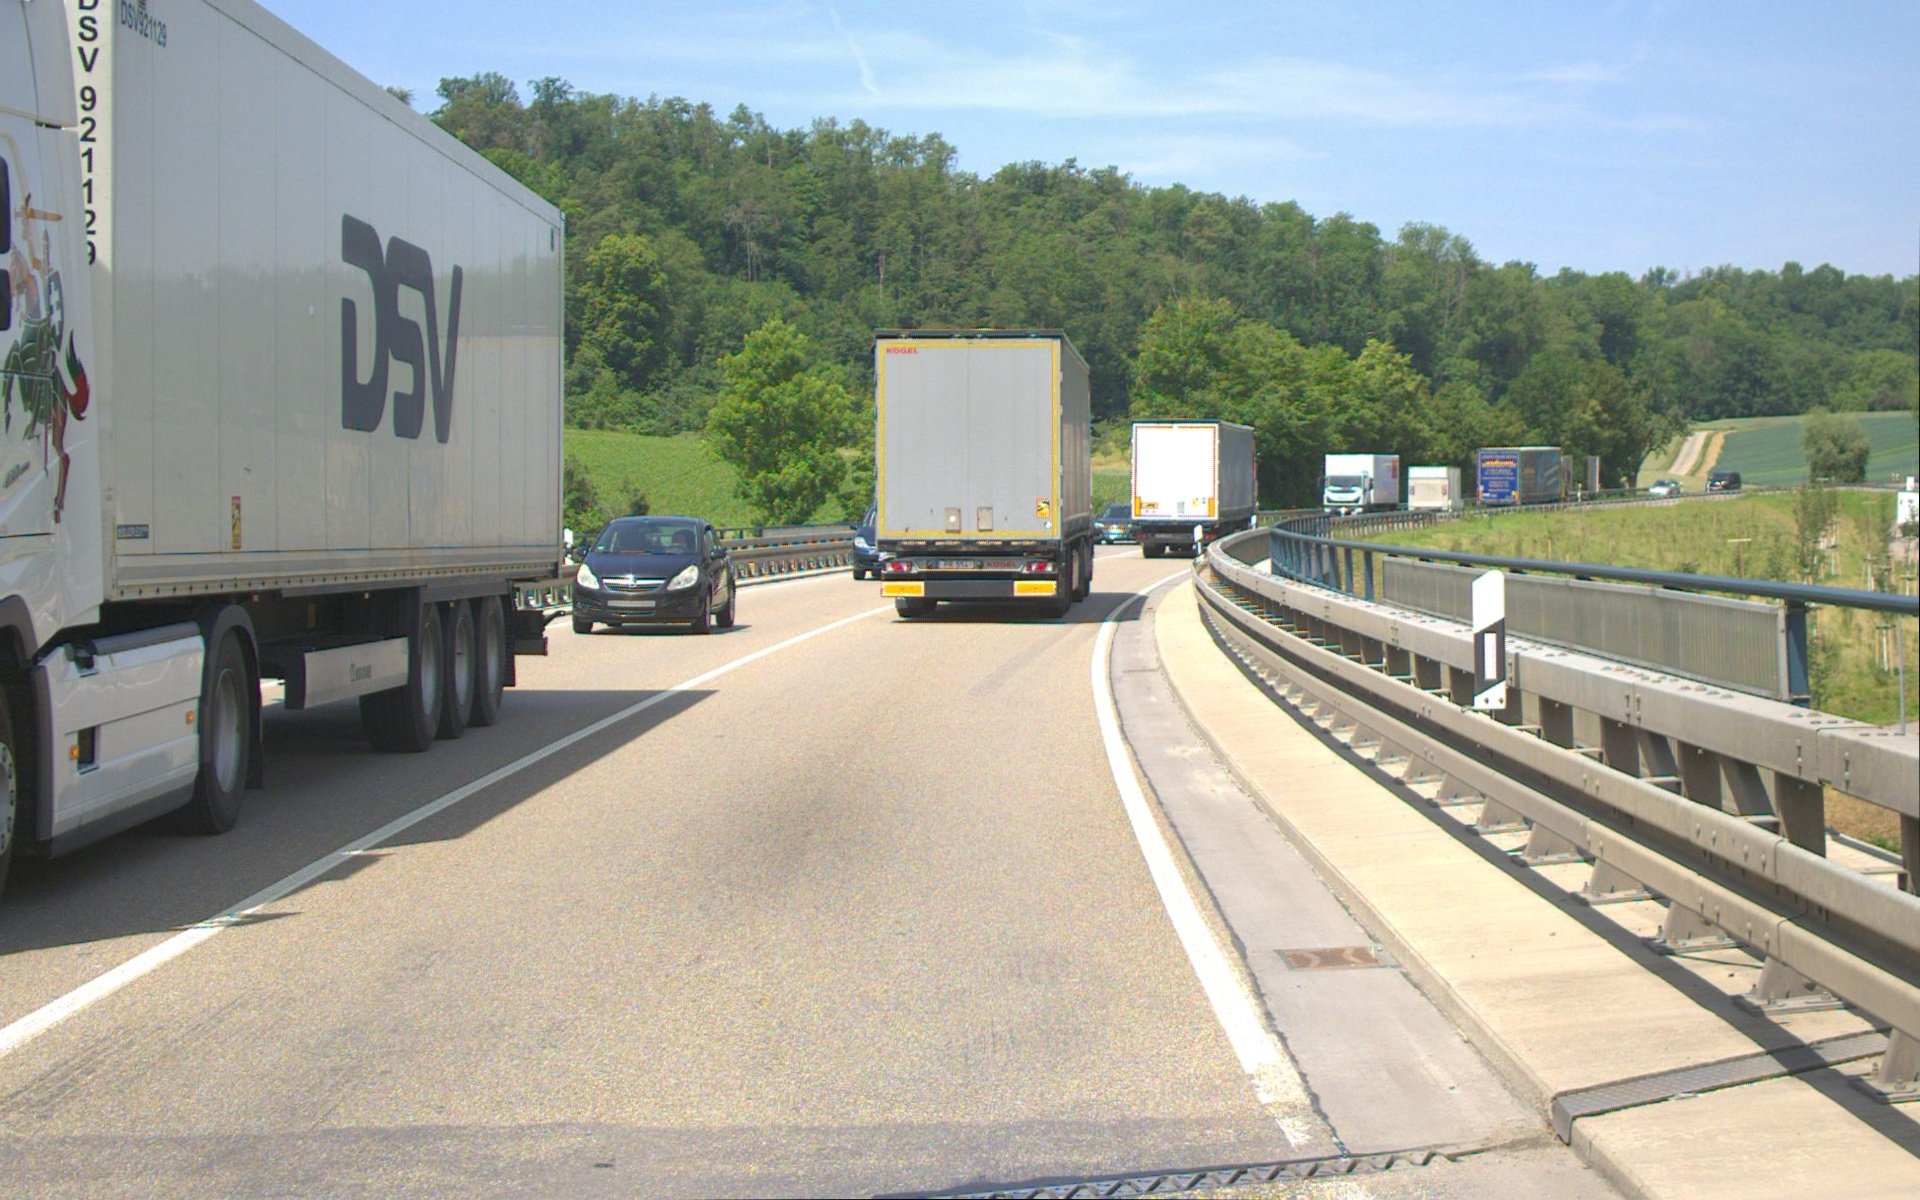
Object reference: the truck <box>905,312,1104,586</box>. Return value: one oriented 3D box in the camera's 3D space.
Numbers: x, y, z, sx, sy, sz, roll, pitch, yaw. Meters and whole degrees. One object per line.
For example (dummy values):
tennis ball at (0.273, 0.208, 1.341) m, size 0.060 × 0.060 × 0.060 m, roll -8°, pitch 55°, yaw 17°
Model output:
truck at (0.868, -2.596, 59.881) m, size 3.118 × 4.479 × 6.811 m, roll 0°, pitch 2°, yaw 3°

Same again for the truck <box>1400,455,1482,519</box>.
truck at (26.183, -6.088, 186.714) m, size 3.225 × 3.353 × 11.868 m, roll 1°, pitch 2°, yaw 14°

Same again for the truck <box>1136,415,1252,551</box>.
truck at (7.688, -3.791, 112.090) m, size 3.366 × 4.302 × 6.739 m, roll 1°, pitch 1°, yaw 7°

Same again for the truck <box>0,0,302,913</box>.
truck at (-4.818, -1.028, 14.297) m, size 2.846 × 4.146 × 6.331 m, roll 1°, pitch 2°, yaw 1°

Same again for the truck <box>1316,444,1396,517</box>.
truck at (21.238, -6.413, 183.999) m, size 2.916 × 3.790 × 9.702 m, roll 1°, pitch 2°, yaw 14°

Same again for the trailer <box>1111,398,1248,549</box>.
trailer at (6.867, -3.805, 105.386) m, size 3.366 × 4.302 × 13.861 m, roll 1°, pitch 1°, yaw 7°

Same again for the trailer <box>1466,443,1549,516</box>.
trailer at (33.129, -7.220, 207.636) m, size 3.650 × 4.248 × 12.187 m, roll 1°, pitch 2°, yaw 15°

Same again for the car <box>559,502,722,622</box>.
car at (-4.035, -0.520, 43.898) m, size 1.661 × 1.452 × 3.894 m, roll 0°, pitch 2°, yaw 1°

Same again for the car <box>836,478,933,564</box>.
car at (-1.611, -1.729, 74.700) m, size 1.853 × 1.792 × 4.977 m, roll 1°, pitch 2°, yaw 2°

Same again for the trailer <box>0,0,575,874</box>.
trailer at (-4.713, -1.207, 20.780) m, size 2.853 × 4.173 × 14.498 m, roll 1°, pitch 1°, yaw 1°

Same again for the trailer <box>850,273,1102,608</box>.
trailer at (0.492, -2.366, 53.123) m, size 3.118 × 4.484 × 13.886 m, roll 0°, pitch 2°, yaw 3°
